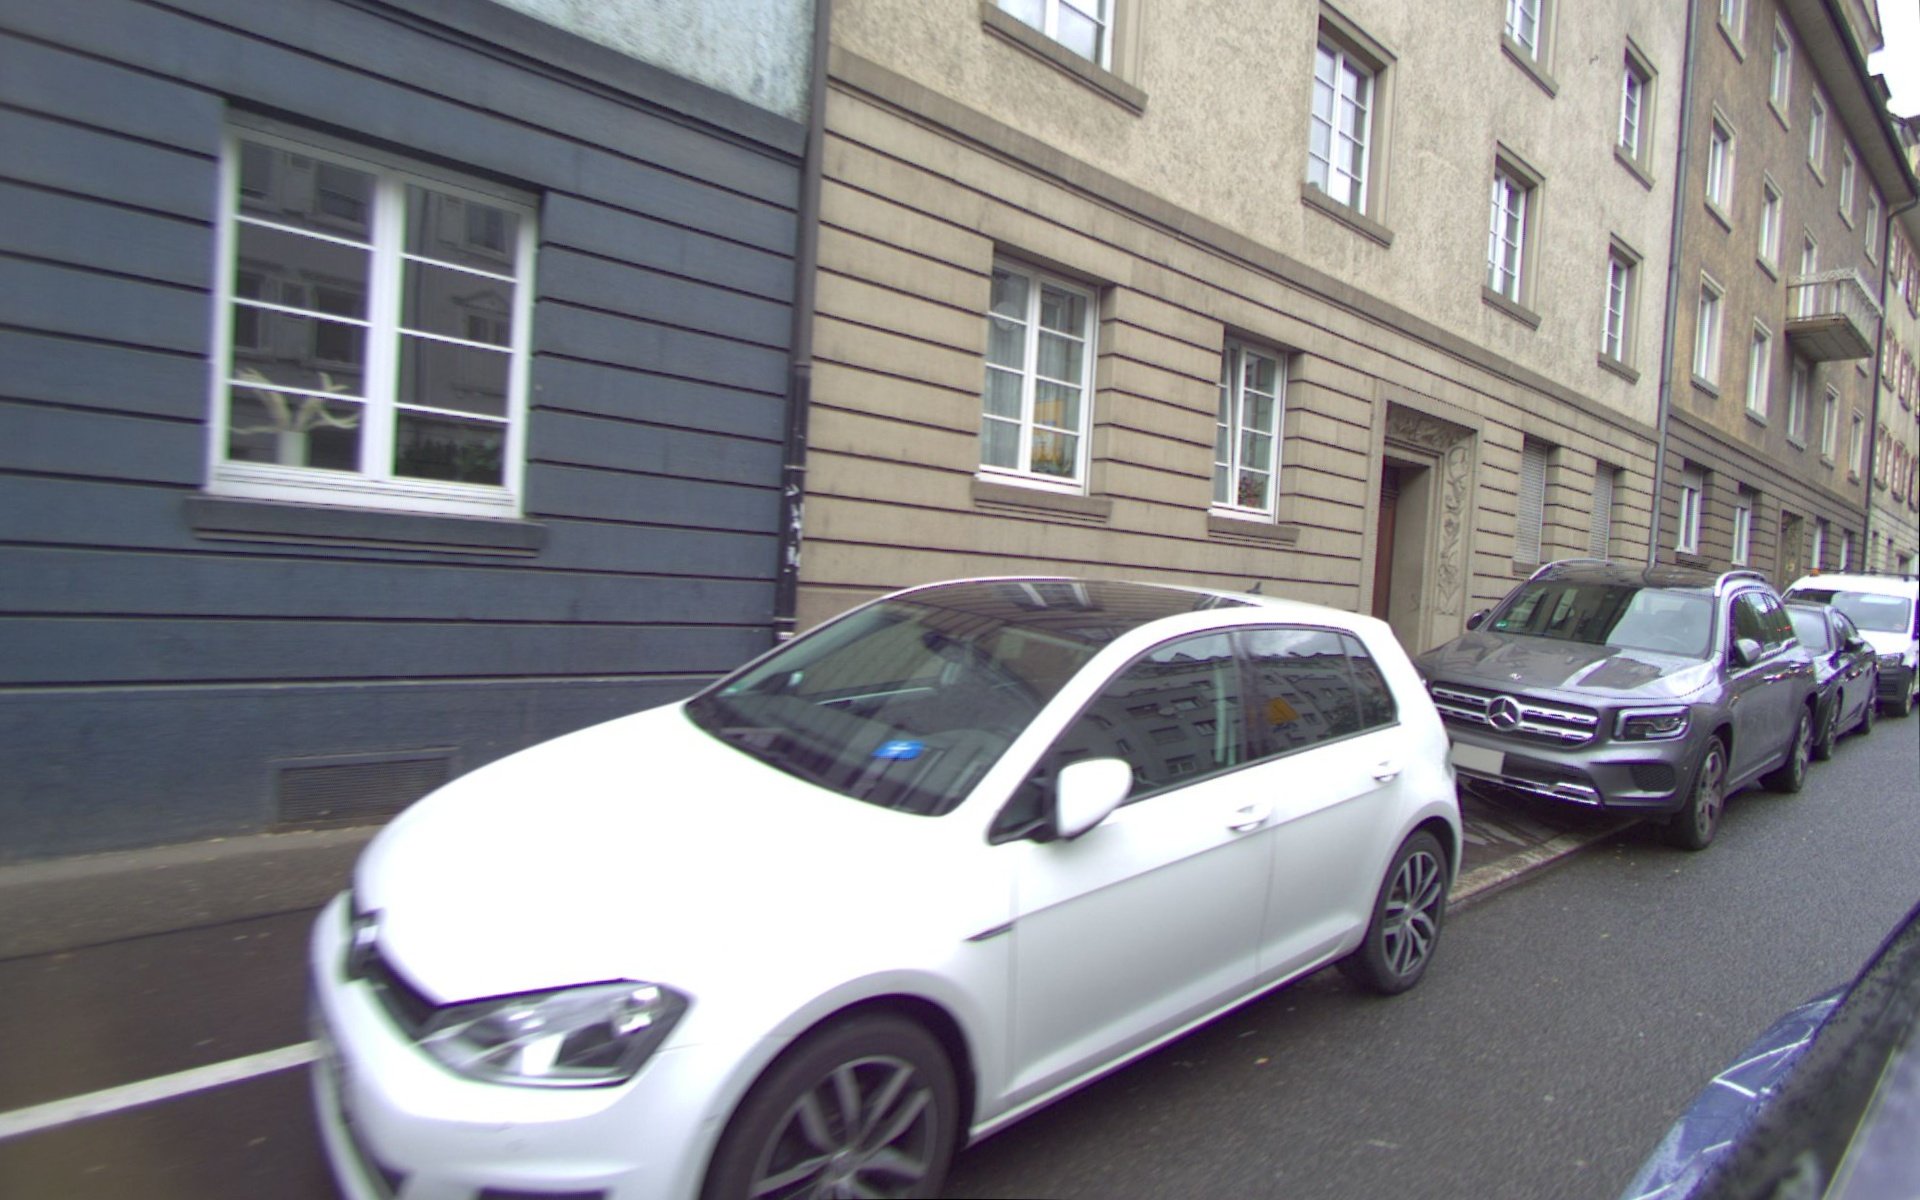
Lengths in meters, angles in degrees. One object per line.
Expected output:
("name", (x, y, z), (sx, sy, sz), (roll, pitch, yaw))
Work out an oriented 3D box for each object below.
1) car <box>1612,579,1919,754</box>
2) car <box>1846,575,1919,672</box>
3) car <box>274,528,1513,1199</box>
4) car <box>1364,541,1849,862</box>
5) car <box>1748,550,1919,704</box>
("car", (8.983, 0.567, 11.149), (4.312, 1.426, 1.845), (0, 5, -42))
("car", (17.583, 0.413, 18.178), (4.150, 1.566, 1.795), (0, 4, -40))
("car", (0.122, 0.607, 3.449), (3.904, 1.446, 1.734), (0, 5, -41))
("car", (4.866, 0.471, 7.381), (4.135, 1.640, 1.845), (-1, 5, -42))
("car", (12.971, 0.306, 14.510), (4.008, 1.839, 1.795), (0, 4, -41))
